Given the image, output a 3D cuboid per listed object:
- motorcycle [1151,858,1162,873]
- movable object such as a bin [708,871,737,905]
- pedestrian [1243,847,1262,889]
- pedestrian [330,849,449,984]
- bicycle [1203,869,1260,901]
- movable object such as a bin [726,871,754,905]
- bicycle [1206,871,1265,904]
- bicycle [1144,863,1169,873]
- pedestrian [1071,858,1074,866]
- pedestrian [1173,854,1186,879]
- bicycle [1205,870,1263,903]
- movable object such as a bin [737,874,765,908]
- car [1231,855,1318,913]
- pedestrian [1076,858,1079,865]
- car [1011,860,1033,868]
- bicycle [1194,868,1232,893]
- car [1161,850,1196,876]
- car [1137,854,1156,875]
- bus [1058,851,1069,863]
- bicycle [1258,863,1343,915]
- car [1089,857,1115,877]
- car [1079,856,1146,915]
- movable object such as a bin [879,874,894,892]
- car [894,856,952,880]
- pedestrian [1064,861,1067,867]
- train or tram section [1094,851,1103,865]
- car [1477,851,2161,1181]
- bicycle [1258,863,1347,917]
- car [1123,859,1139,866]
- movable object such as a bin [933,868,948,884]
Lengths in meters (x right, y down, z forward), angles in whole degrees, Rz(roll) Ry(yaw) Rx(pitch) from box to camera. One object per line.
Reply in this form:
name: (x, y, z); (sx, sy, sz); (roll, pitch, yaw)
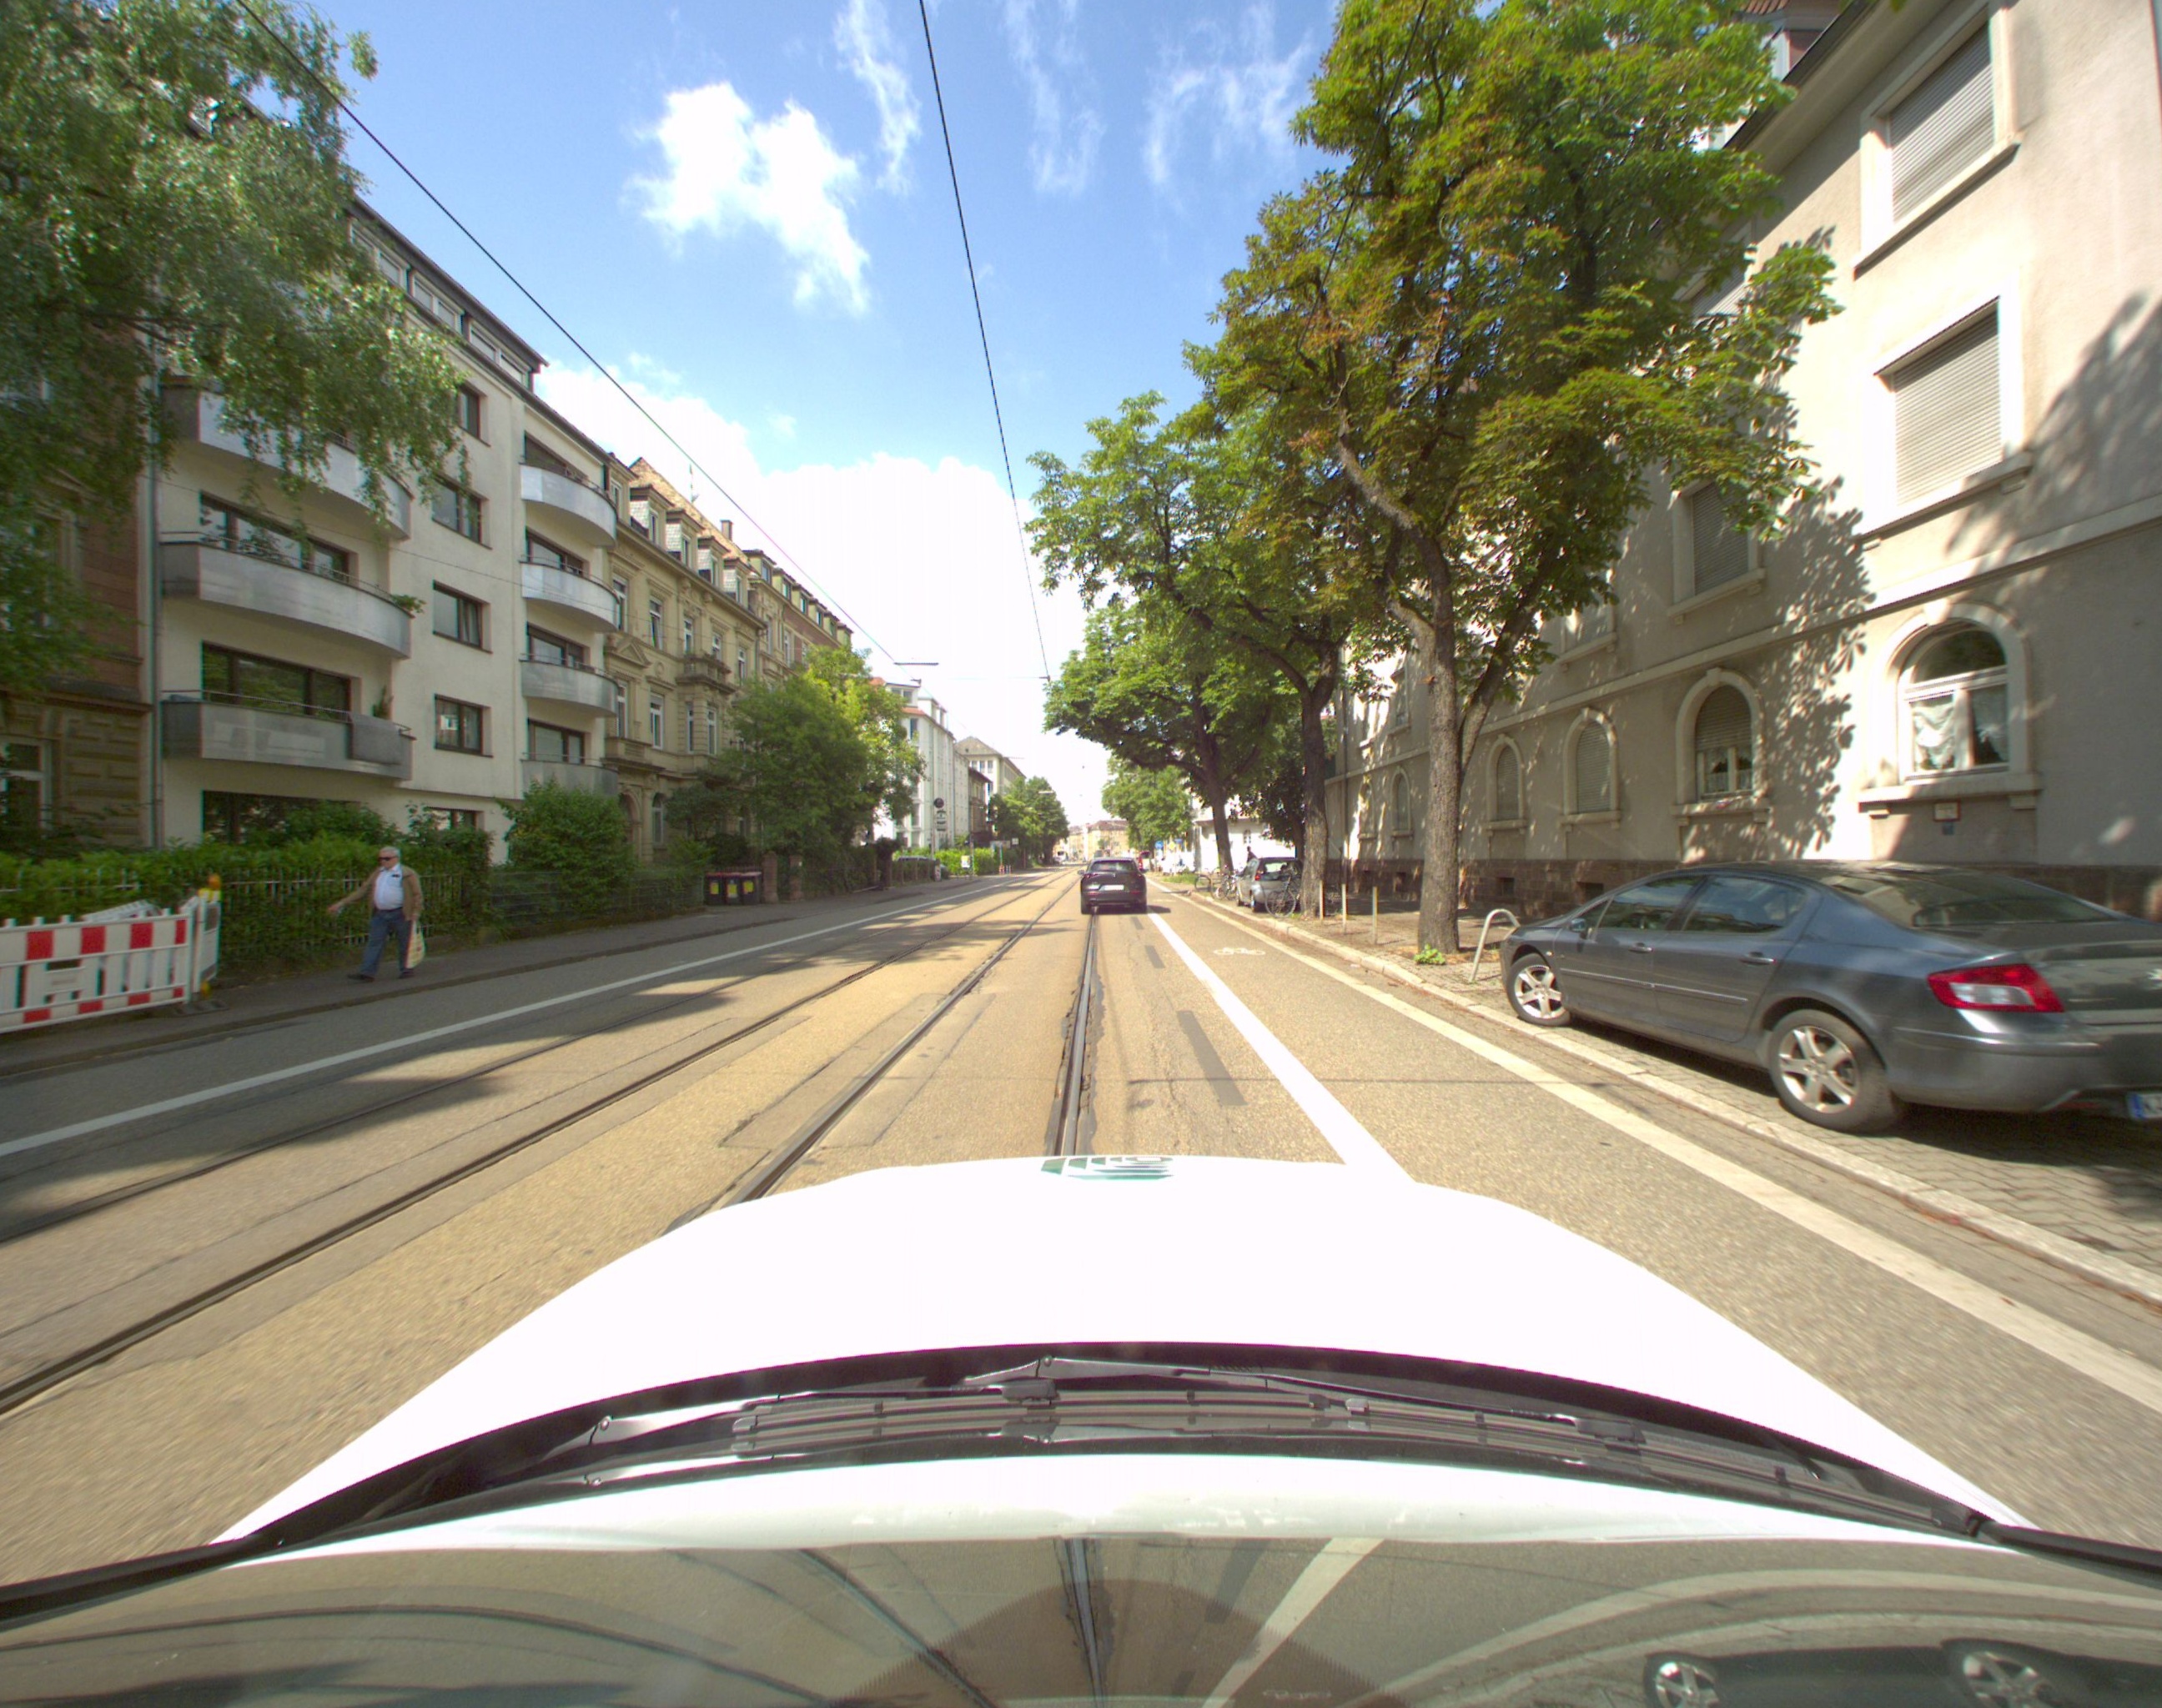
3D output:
motorcycle: (6.946, 1.056, 75.053); (0.791, 1.271, 2.423); (-1, 0, 1)
movable object such as a bin: (-12.002, 1.147, 27.298); (0.546, 1.108, 0.791); (-1, -1, 6)
pedestrian: (7.615, 0.621, 36.238); (0.608, 1.836, 0.878); (-1, -2, -1)
pedestrian: (-9.174, 0.804, 10.849); (0.820, 1.706, 0.891); (-1, -1, -2)
bicycle: (5.238, 1.089, 28.368); (1.896, 1.072, 0.402); (-1, -1, 1)
movable object such as a bin: (-11.428, 1.127, 27.330); (0.546, 1.108, 0.791); (-1, -1, 6)
bicycle: (5.223, 1.119, 27.533); (1.896, 1.072, 0.402); (-1, -1, 1)
bicycle: (7.244, 1.322, 78.079); (2.267, 0.861, 0.671); (-1, -1, 0)
pedestrian: (-2.252, 2.096, 220.003); (0.882, 2.014, 0.617); (-1, -1, -3)
pedestrian: (7.432, 0.924, 61.680); (0.813, 1.836, 0.961); (-1, 0, -2)
bicycle: (5.233, 1.108, 27.927); (1.896, 1.072, 0.402); (-1, -1, 1)
movable object such as a bin: (-10.973, 1.213, 27.071); (0.535, 1.094, 0.791); (-1, -1, 6)
car: (5.432, 0.805, 23.293); (1.660, 1.430, 3.767); (-3, -1, 2)
pedestrian: (-0.891, 2.049, 220.052); (0.882, 2.014, 0.617); (-1, -1, -3)
car: (-10.226, 1.702, 141.401); (3.738, 1.287, 1.609); (1, -1, -3)
bicycle: (5.315, 1.062, 32.812); (1.485, 0.983, 0.259); (-1, -1, 3)
car: (7.722, 0.708, 64.911); (1.784, 1.938, 4.982); (-1, 0, -5)
car: (6.590, 1.053, 81.880); (1.714, 1.968, 4.209); (-1, 0, 2)
bus: (-5.185, 0.863, 241.577); (2.683, 3.421, 10.999); (1, 0, -5)
bicycle: (5.182, 0.828, 19.299); (1.881, 1.176, 0.515); (-2, -2, 12)
car: (1.658, 1.006, 65.328); (1.986, 1.529, 4.000); (1, -1, 1)
car: (0.859, 0.834, 22.979); (1.714, 1.526, 3.590); (-1, 0, 1)
movable object such as a bin: (-9.805, 1.447, 41.050); (0.560, 0.876, 0.616); (-1, -1, 1)
car: (-13.888, 1.226, 71.451); (4.621, 2.014, 2.058); (-1, -1, 23)
pedestrian: (-3.729, 2.412, 195.604); (0.749, 1.510, 0.823); (-1, -1, -3)
train or tram section: (5.341, 1.187, 244.118); (2.562, 3.773, 13.031); (-1, 0, 2)
car: (4.936, 0.750, 5.911); (1.841, 1.409, 4.391); (-3, -1, -2)
bicycle: (5.080, 0.822, 18.757); (1.923, 1.176, 0.515); (-2, -2, 12)
car: (12.690, 2.072, 206.807); (3.815, 1.618, 1.628); (2, -1, -17)
movable object such as a bin: (-9.280, 1.449, 53.659); (0.742, 0.988, 1.114); (1, -1, 1)
